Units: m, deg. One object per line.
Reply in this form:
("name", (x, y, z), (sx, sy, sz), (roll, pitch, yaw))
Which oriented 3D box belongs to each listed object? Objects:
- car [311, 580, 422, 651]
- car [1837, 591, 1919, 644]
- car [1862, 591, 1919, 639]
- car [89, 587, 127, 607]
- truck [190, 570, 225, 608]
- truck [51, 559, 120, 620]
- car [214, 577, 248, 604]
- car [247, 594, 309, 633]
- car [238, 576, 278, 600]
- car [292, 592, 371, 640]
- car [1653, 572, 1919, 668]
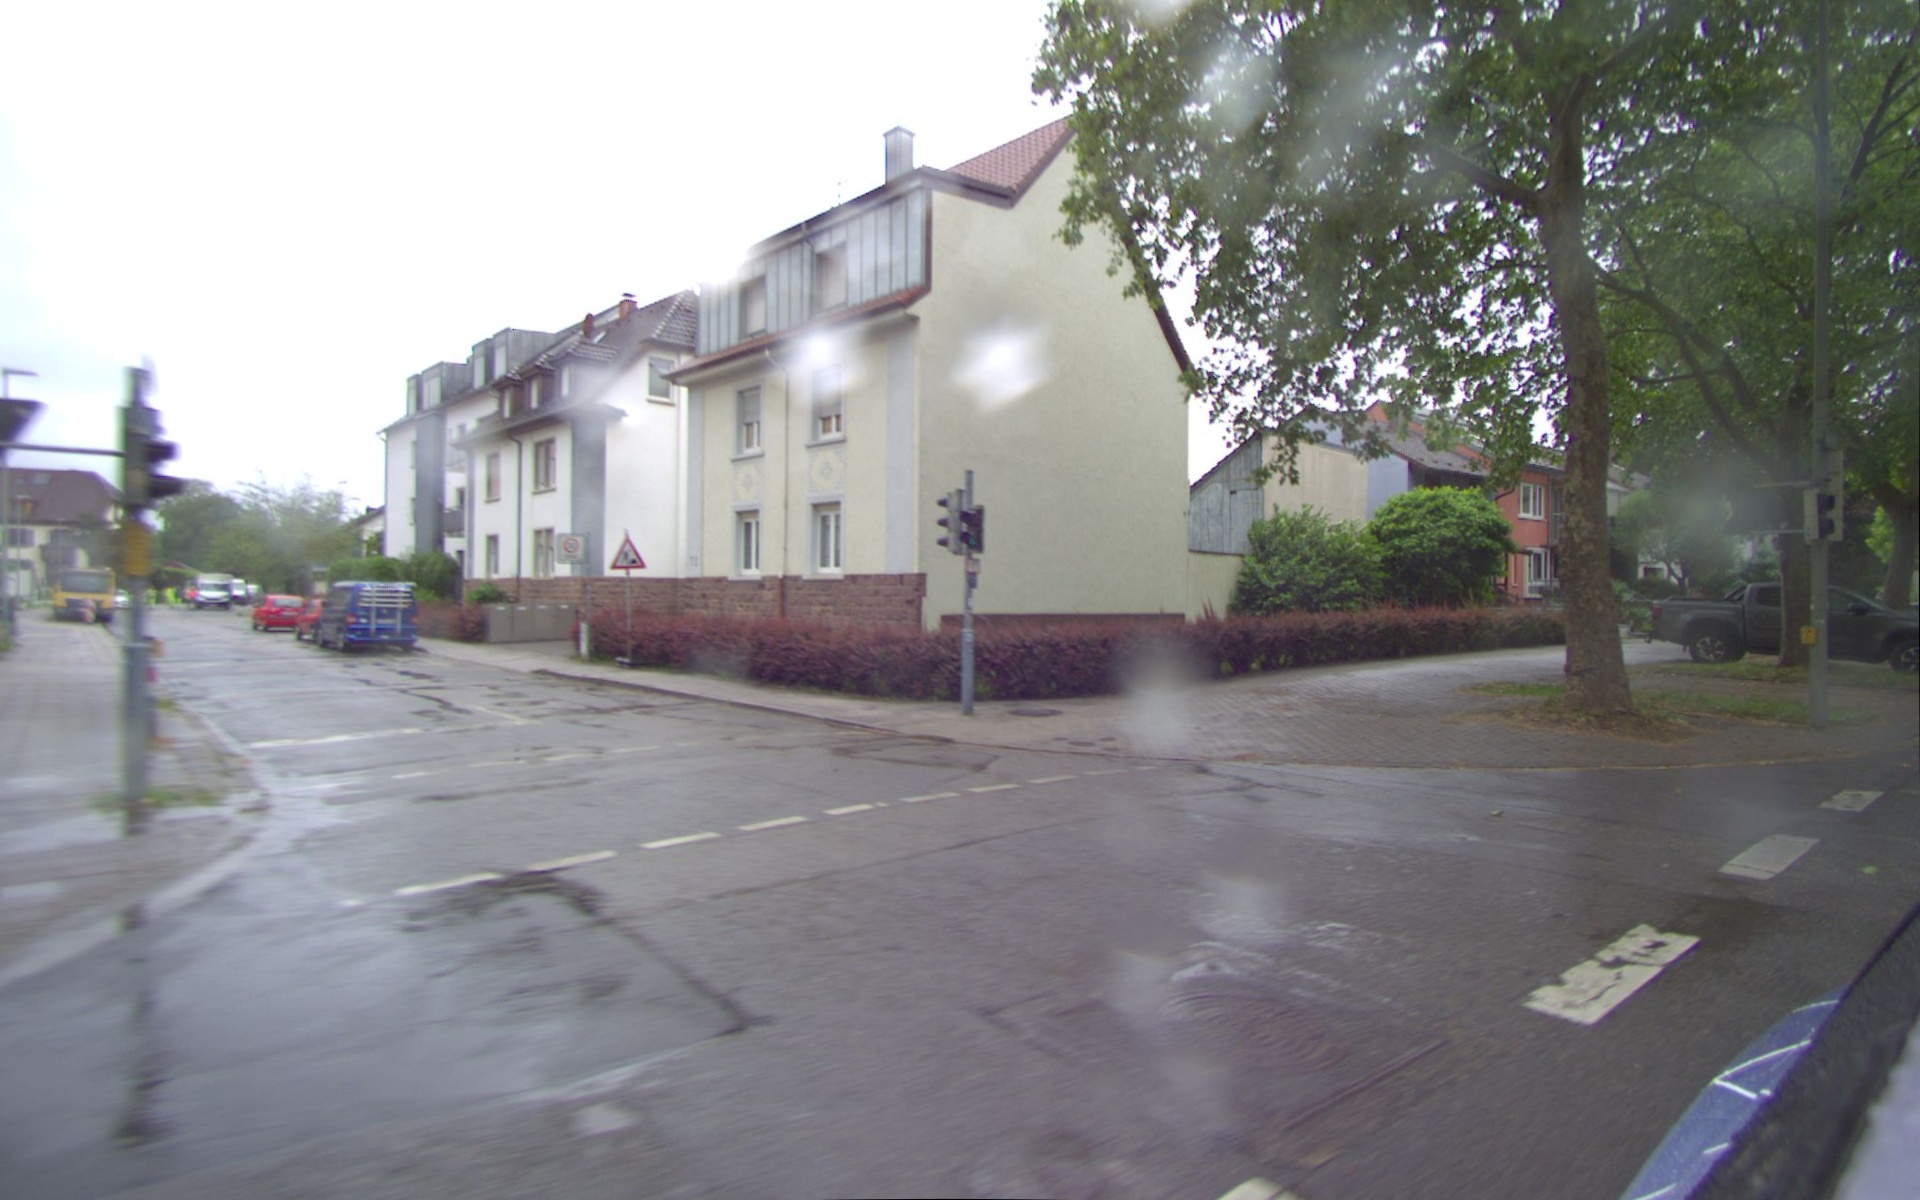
("car", (-17.368, 0.390, 29.524), (1.894, 1.900, 4.673), (0, 0, -42))
("car", (27.980, 0.512, 29.535), (1.589, 1.482, 3.364), (1, 1, -38))
("car", (32.188, 0.534, 32.385), (1.904, 1.491, 4.774), (1, 1, -41))
("car", (-64.810, -0.224, 77.005), (1.963, 1.482, 3.998), (0, 0, -37))
("truck", (-57.785, -0.840, 77.775), (2.044, 2.822, 5.235), (0, 0, -36))
("truck", (-45.306, -0.548, 52.348), (2.499, 2.887, 8.517), (0, 0, -42))
("car", (-63.821, -0.832, 88.670), (1.890, 2.250, 4.005), (0, 0, -29))
("car", (-28.401, 0.517, 42.112), (1.691, 1.519, 3.511), (0, 0, -42))
("car", (-66.999, -1.108, 96.614), (1.958, 2.250, 4.008), (0, 0, -16))
("car", (-21.269, 0.491, 34.204), (1.691, 1.519, 3.511), (0, 0, -42))
("car", (17.881, 0.349, 21.144), (1.814, 1.829, 5.344), (0, 1, -43))
